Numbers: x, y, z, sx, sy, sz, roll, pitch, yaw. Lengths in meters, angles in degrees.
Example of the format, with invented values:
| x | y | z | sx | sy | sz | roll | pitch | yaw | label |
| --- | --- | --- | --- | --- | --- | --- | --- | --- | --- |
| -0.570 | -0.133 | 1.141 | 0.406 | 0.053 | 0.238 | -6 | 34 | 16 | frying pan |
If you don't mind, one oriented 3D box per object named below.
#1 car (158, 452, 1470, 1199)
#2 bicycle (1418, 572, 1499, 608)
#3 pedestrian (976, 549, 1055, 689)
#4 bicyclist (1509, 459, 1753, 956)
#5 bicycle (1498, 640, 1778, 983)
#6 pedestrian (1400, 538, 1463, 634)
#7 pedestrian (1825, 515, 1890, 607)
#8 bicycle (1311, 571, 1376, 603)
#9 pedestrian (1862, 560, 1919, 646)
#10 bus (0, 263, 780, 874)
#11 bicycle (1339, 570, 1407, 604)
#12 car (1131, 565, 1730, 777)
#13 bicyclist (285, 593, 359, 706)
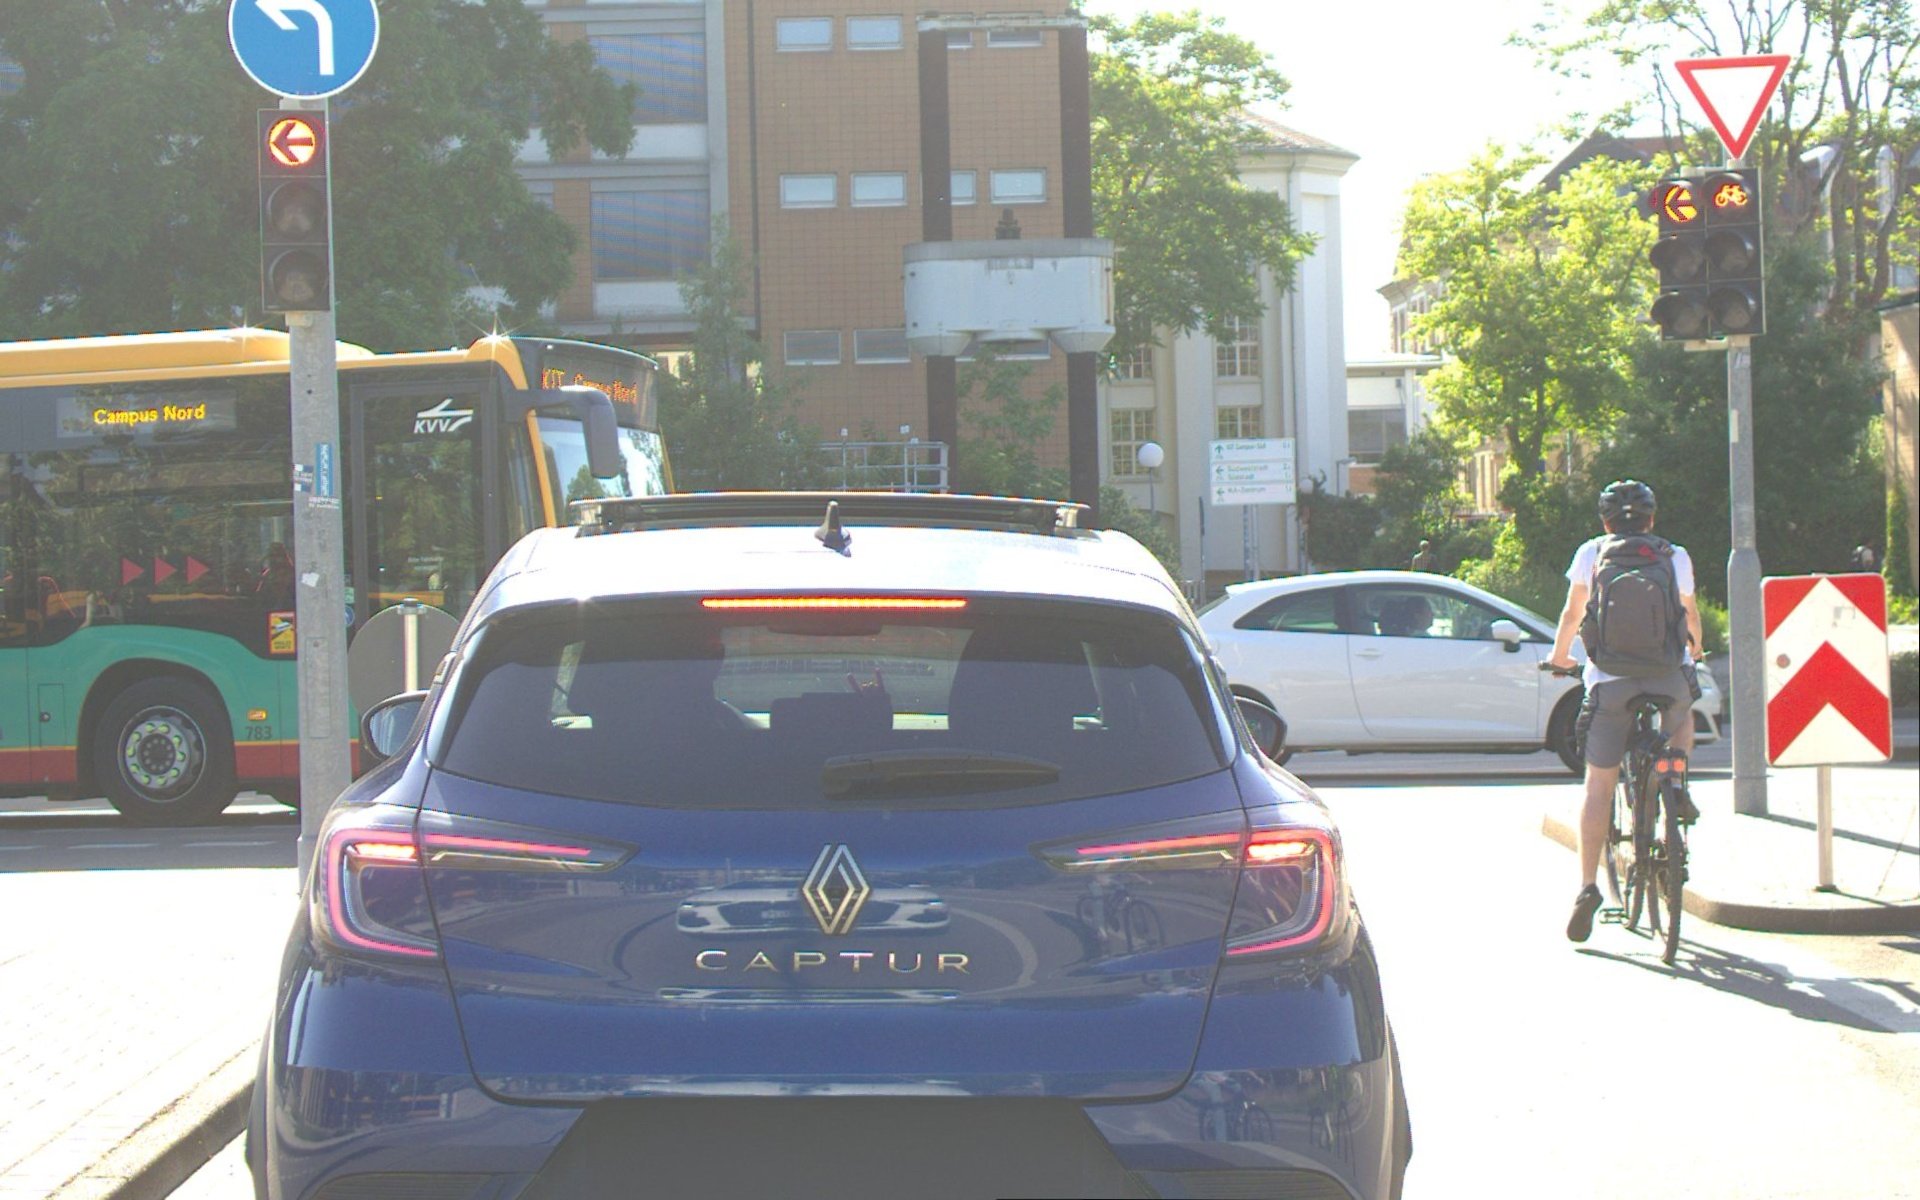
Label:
| x | y | z | sx | sy | sz | roll | pitch | yaw | label |
| --- | --- | --- | --- | --- | --- | --- | --- | --- | --- |
| -0.251 | 0.592 | 6.652 | 1.794 | 1.649 | 3.853 | 0 | 1 | -2 | car |
| 12.031 | -0.237 | 83.041 | 1.770 | 0.820 | 0.766 | -1 | 1 | -10 | bicycle |
| 0.752 | 0.250 | 46.475 | 0.932 | 1.849 | 0.807 | -1 | 1 | 9 | pedestrian |
| 2.483 | 0.384 | 12.809 | 0.676 | 1.779 | 0.940 | 1 | 0 | -2 | bicyclist |
| 2.485 | 0.741 | 12.790 | 0.615 | 1.134 | 1.826 | 0 | 1 | -2 | bicycle |
| 10.069 | -0.312 | 73.435 | 1.156 | 2.007 | 1.164 | -1 | 1 | 0 | pedestrian |
| 17.266 | -0.743 | 66.128 | 0.953 | 1.735 | 0.984 | -1 | 1 | 0 | pedestrian |
| 11.063 | -0.381 | 99.207 | 1.771 | 0.890 | 0.765 | -1 | 1 | 0 | bicycle |
| 17.886 | 0.058 | 65.752 | 0.936 | 1.607 | 1.176 | -1 | 1 | 0 | pedestrian |
| -7.666 | -0.115 | 23.220 | 12.431 | 3.558 | 3.248 | -1 | 1 | 16 | bus |
| 11.401 | -0.351 | 94.843 | 1.771 | 0.895 | 0.765 | -1 | 1 | 0 | bicycle |
| 3.325 | 0.483 | 24.034 | 3.989 | 1.369 | 1.759 | -1 | 1 | 13 | car |
| -8.158 | 0.632 | 43.945 | 0.648 | 1.407 | 0.638 | -3 | -2 | 24 | bicyclist |
